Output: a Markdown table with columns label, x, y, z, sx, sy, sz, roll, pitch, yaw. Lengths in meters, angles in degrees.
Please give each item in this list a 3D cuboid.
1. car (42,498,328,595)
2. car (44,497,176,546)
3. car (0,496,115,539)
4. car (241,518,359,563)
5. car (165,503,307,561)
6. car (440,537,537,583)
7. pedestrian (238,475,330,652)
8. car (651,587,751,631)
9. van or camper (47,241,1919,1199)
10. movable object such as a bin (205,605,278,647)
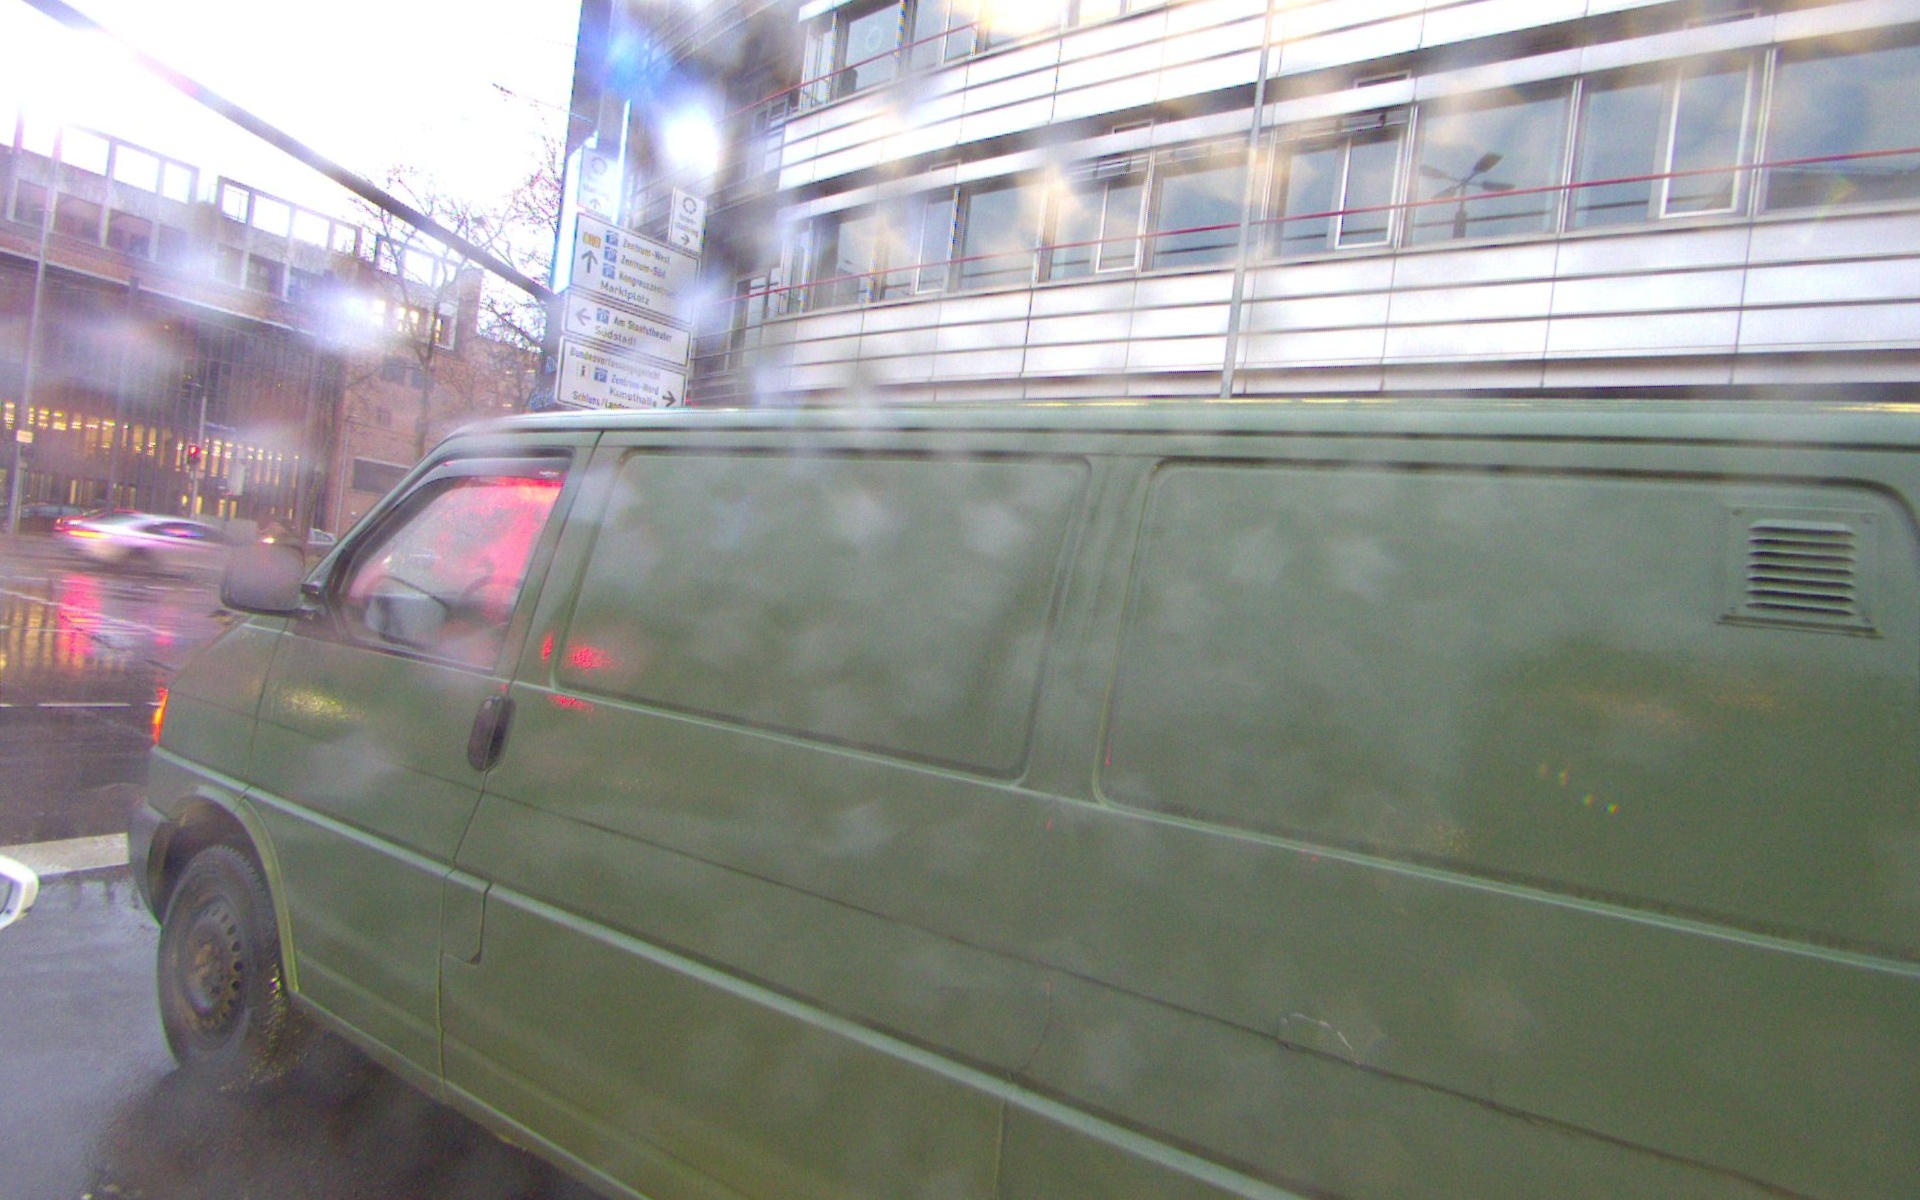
| label | x | y | z | sx | sy | sz | roll | pitch | yaw |
| --- | --- | --- | --- | --- | --- | --- | --- | --- | --- |
| car | -18.673 | -1.234 | 24.517 | 2.217 | 1.627 | 4.992 | 7 | 0 | 33 |
| car | -35.485 | -3.252 | 42.106 | 1.814 | 1.278 | 3.729 | 11 | 1 | 26 |
| car | -39.212 | -3.566 | 43.215 | 1.965 | 1.326 | 3.994 | 7 | 0 | 28 |
| car | -29.638 | -2.662 | 45.310 | 1.814 | 1.304 | 3.997 | 11 | 1 | 26 |
| car | -28.288 | -2.610 | 39.442 | 1.814 | 1.523 | 3.997 | 11 | 1 | 26 |
| car | -23.565 | -1.984 | 50.412 | 1.814 | 1.621 | 3.997 | 11 | 1 | 26 |
| pedestrian | -8.791 | -0.461 | 13.091 | 0.609 | 2.210 | 0.576 | 6 | 0 | 26 |
| car | -11.236 | 0.436 | 44.012 | 2.011 | 1.580 | 4.836 | 7 | 0 | 15 |
| van or camper | -0.336 | 0.532 | 2.629 | 4.345 | 1.929 | 1.760 | 7 | -1 | 32 |
| movable object such as a bin | -9.431 | 0.346 | 13.213 | 0.306 | 0.475 | 0.679 | 6 | -1 | 26 |
